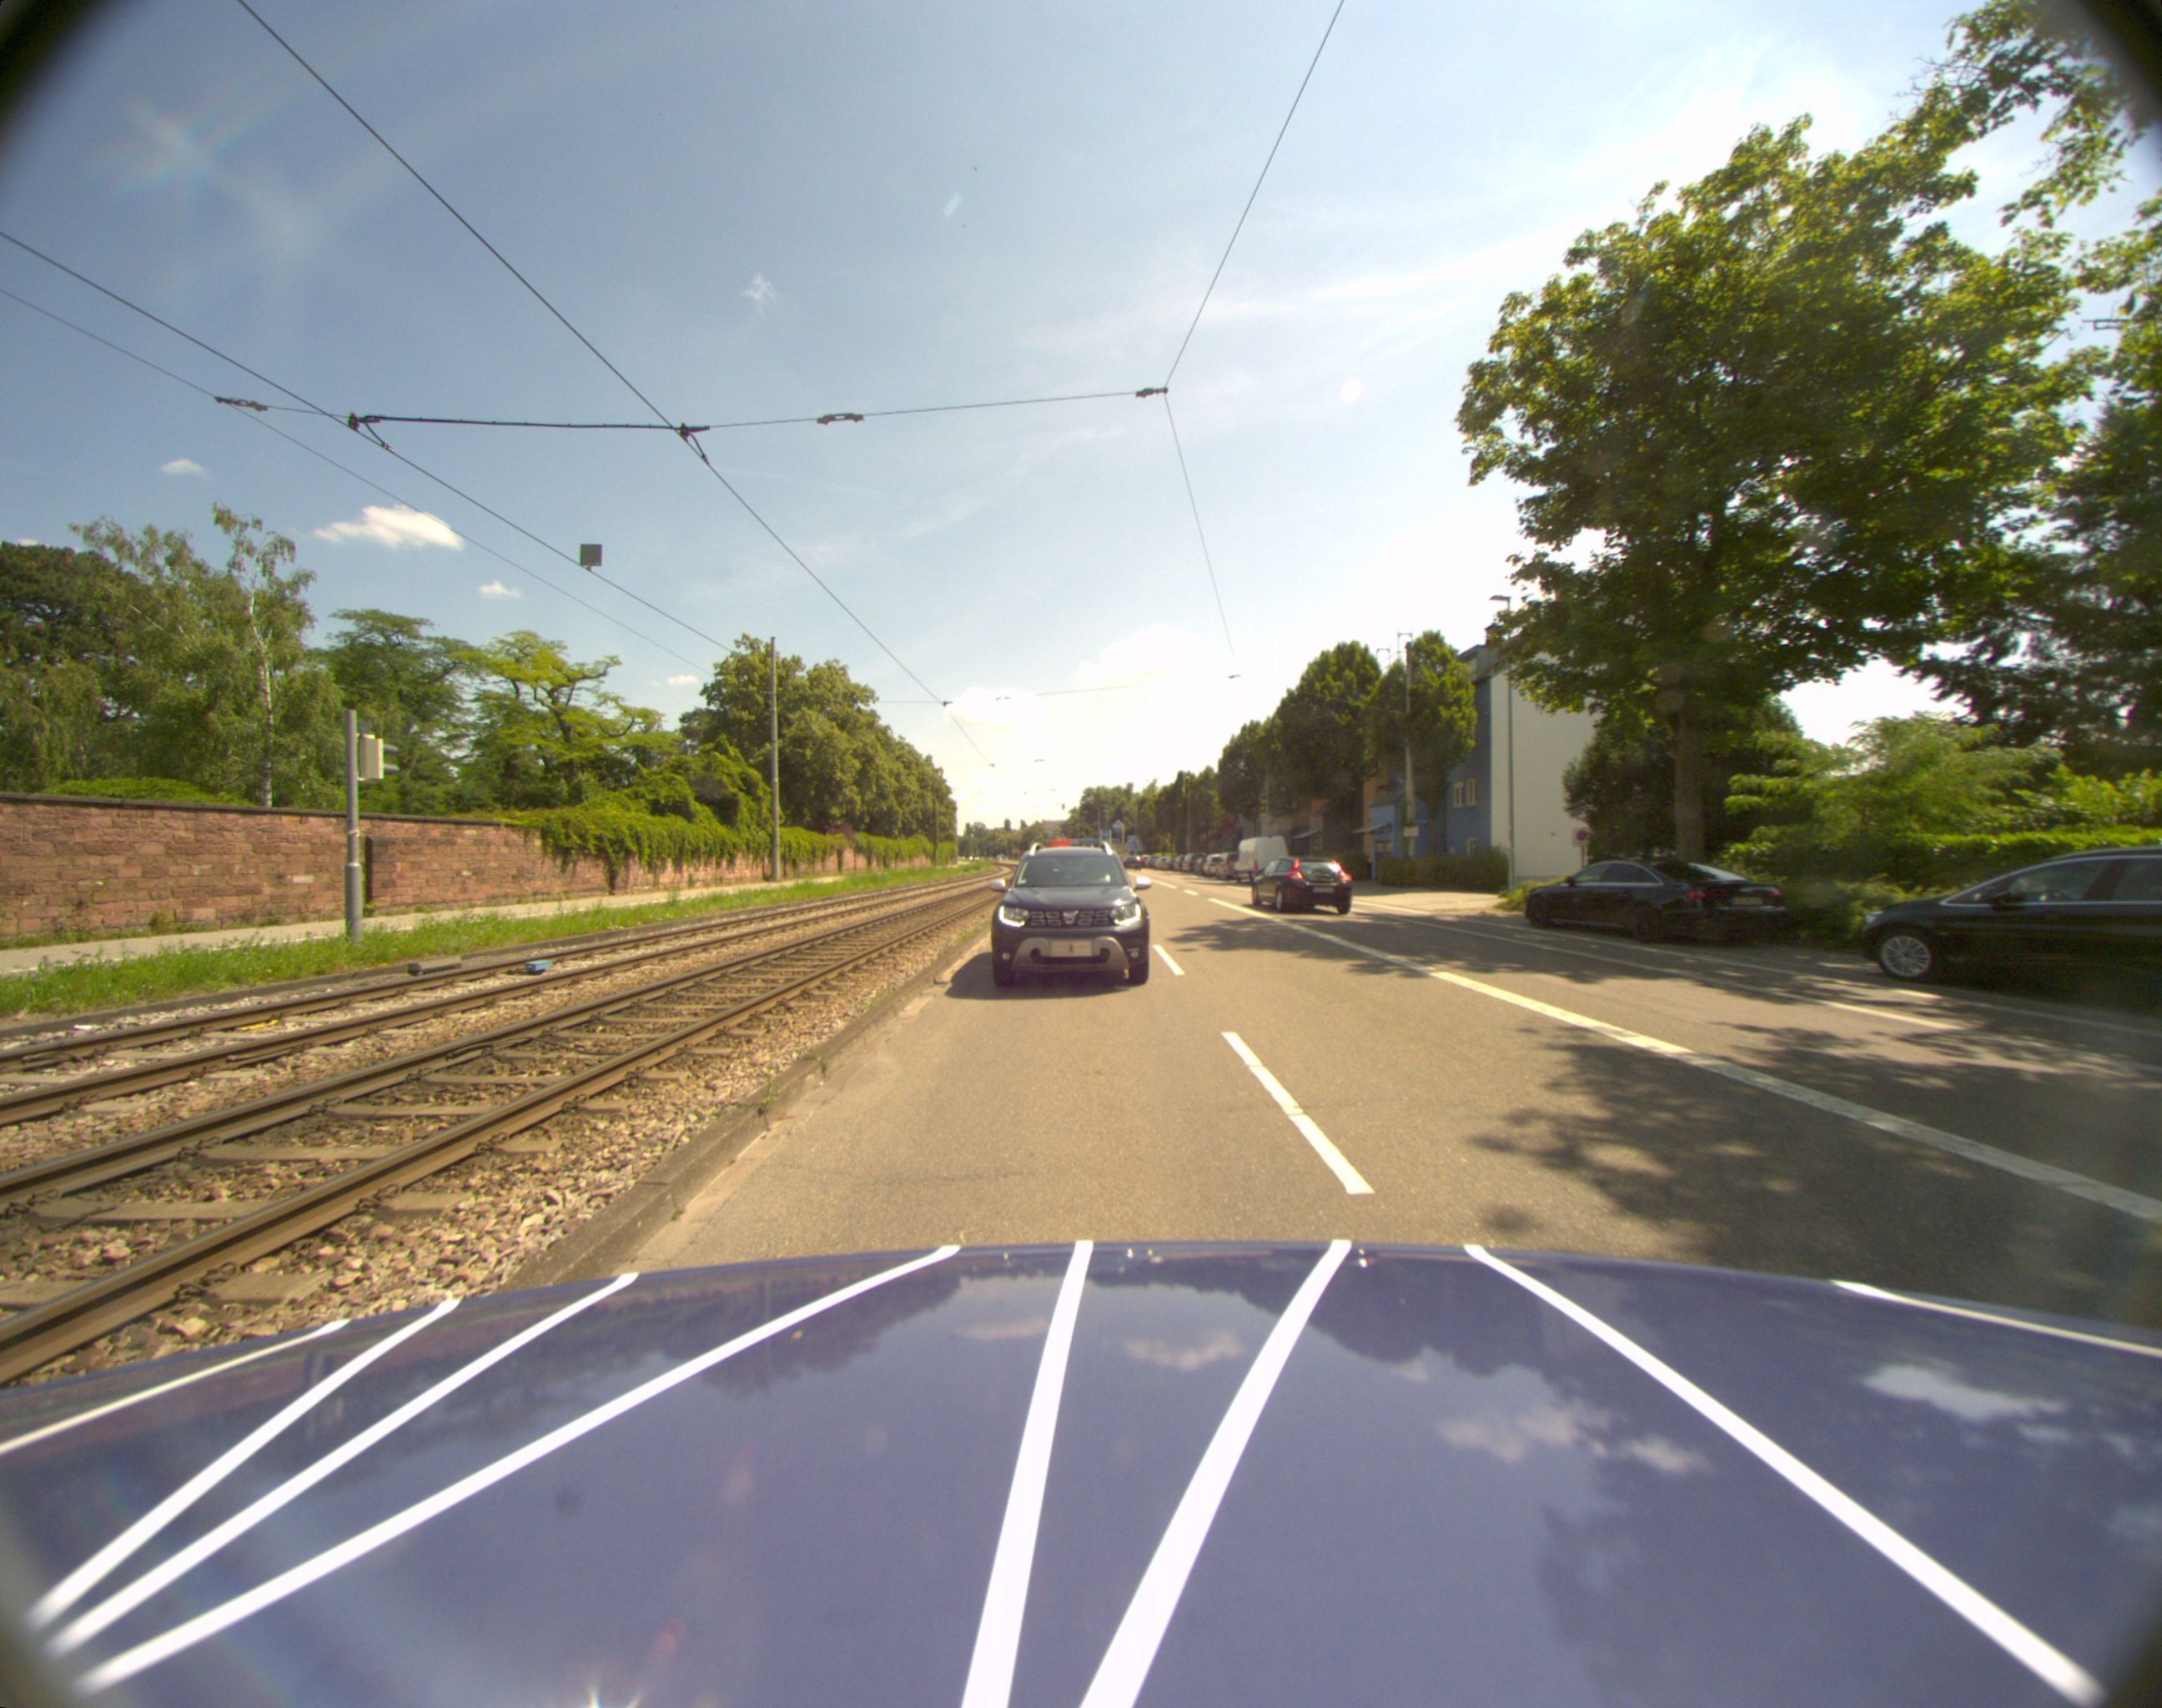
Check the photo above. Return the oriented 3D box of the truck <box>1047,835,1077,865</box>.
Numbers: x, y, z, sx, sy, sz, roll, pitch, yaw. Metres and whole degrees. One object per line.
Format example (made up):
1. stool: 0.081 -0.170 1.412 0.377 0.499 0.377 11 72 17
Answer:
1. truck: -2.445 -0.523 94.910 2.847 3.574 8.699 -1 1 -7

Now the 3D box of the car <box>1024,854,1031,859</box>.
1. car: -16.603 0.784 235.264 2.000 1.379 3.997 0 0 -7

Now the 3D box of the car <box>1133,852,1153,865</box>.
1. car: 7.999 0.609 98.330 1.661 1.600 4.170 -1 0 -8

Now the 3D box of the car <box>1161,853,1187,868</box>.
1. car: 9.907 0.687 81.424 1.746 1.438 4.962 -2 0 -4

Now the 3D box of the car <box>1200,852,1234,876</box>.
1. car: 10.576 0.755 59.385 1.721 1.742 4.903 -1 0 -1

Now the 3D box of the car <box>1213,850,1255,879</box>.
1. car: 10.718 0.681 53.639 1.811 1.884 5.362 -3 0 0

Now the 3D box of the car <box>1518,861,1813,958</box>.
1. car: 10.552 0.887 14.310 1.779 1.447 4.803 -1 0 -1

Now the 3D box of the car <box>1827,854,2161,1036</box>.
1. car: 10.602 0.818 7.537 1.779 1.595 4.636 -1 0 -1

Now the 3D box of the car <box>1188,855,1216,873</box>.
1. car: 10.326 0.789 64.835 1.603 1.462 4.086 0 0 -2

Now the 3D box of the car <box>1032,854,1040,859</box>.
1. car: -14.041 0.784 236.455 2.000 1.379 3.997 0 0 -7

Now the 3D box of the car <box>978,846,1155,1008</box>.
1. car: -0.170 0.764 10.282 1.801 1.652 4.787 -1 0 -1

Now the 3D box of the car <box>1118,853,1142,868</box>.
1. car: 4.833 0.614 75.506 1.780 1.451 4.193 1 0 -5

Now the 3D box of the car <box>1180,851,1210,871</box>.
1. car: 10.461 0.636 69.885 1.756 1.706 4.886 0 0 -3

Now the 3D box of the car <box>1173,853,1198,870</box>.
1. car: 10.291 0.700 75.333 1.660 1.608 4.283 0 1 -3

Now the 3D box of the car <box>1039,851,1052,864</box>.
1. car: -5.775 0.523 123.436 1.999 2.002 3.998 -1 1 -4

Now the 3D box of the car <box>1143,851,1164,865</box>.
1. car: 8.858 0.521 92.838 1.660 1.600 4.685 -3 0 -5

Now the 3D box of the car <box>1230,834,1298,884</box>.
1. car: 10.863 0.267 45.669 2.329 2.635 7.035 -4 0 1

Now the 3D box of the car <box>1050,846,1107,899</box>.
1. car: -0.106 0.594 27.005 1.801 1.683 4.144 -2 1 -1

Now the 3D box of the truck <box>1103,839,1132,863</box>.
1. truck: 5.577 -0.444 118.904 2.840 3.528 8.164 -3 0 -8

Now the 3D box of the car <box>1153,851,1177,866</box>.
1. car: 9.614 0.468 87.433 1.660 1.499 4.892 -3 1 -6

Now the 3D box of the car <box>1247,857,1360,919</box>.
1. car: 5.714 0.811 19.988 1.682 1.390 4.005 2 0 -1
